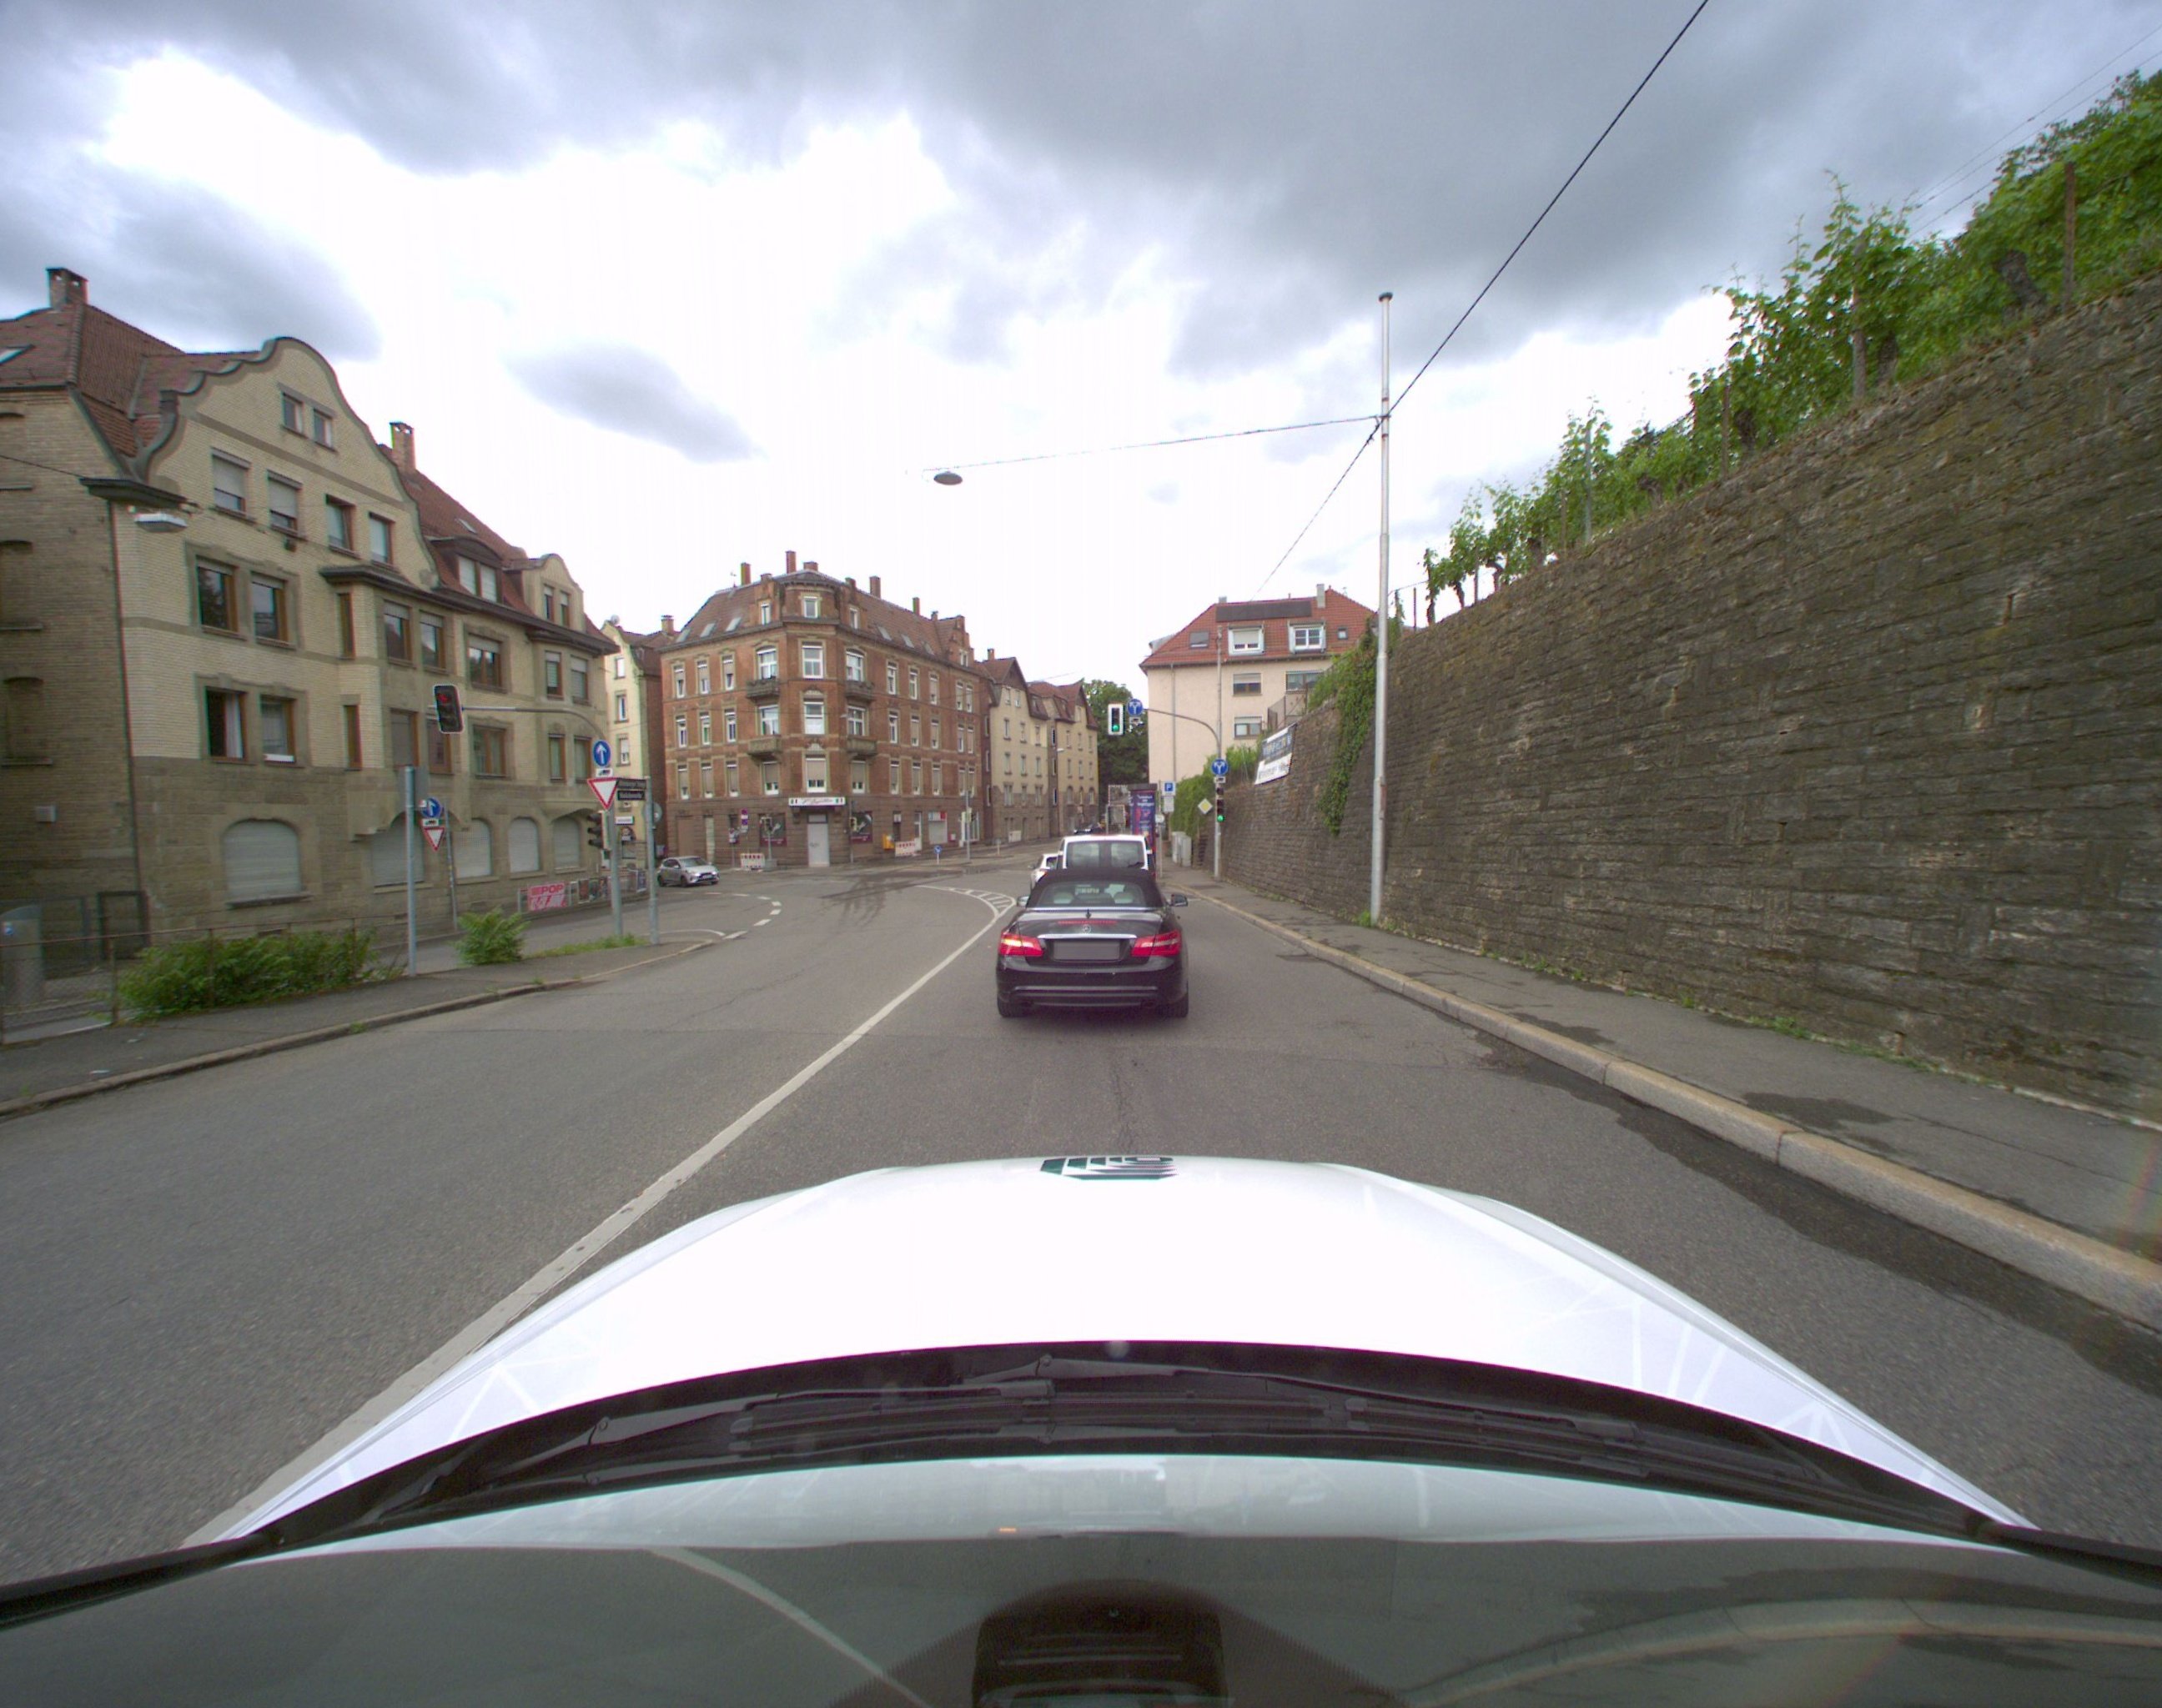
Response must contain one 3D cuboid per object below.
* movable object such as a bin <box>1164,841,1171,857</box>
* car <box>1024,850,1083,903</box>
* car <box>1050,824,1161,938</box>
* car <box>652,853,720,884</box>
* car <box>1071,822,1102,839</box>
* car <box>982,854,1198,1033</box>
[{"bbox_3d":[5.115,-0.298,48.348,0.343,0.911,0.494,-1,0,-4],"label":"movable object such as a bin"},{"bbox_3d":[-0.827,0.631,25.113,1.676,1.466,3.916,-1,0,-2],"label":"car"},{"bbox_3d":[0.487,0.442,16.286,1.884,1.929,4.647,-1,0,2],"label":"car"},{"bbox_3d":[-19.852,0.715,40.878,3.596,1.467,1.686,0,0,39],"label":"car"},{"bbox_3d":[0.589,-2.493,85.246,1.978,1.514,4.306,-1,3,17],"label":"car"},{"bbox_3d":[0.143,0.743,8.923,1.755,1.409,4.400,-1,0,2],"label":"car"}]
